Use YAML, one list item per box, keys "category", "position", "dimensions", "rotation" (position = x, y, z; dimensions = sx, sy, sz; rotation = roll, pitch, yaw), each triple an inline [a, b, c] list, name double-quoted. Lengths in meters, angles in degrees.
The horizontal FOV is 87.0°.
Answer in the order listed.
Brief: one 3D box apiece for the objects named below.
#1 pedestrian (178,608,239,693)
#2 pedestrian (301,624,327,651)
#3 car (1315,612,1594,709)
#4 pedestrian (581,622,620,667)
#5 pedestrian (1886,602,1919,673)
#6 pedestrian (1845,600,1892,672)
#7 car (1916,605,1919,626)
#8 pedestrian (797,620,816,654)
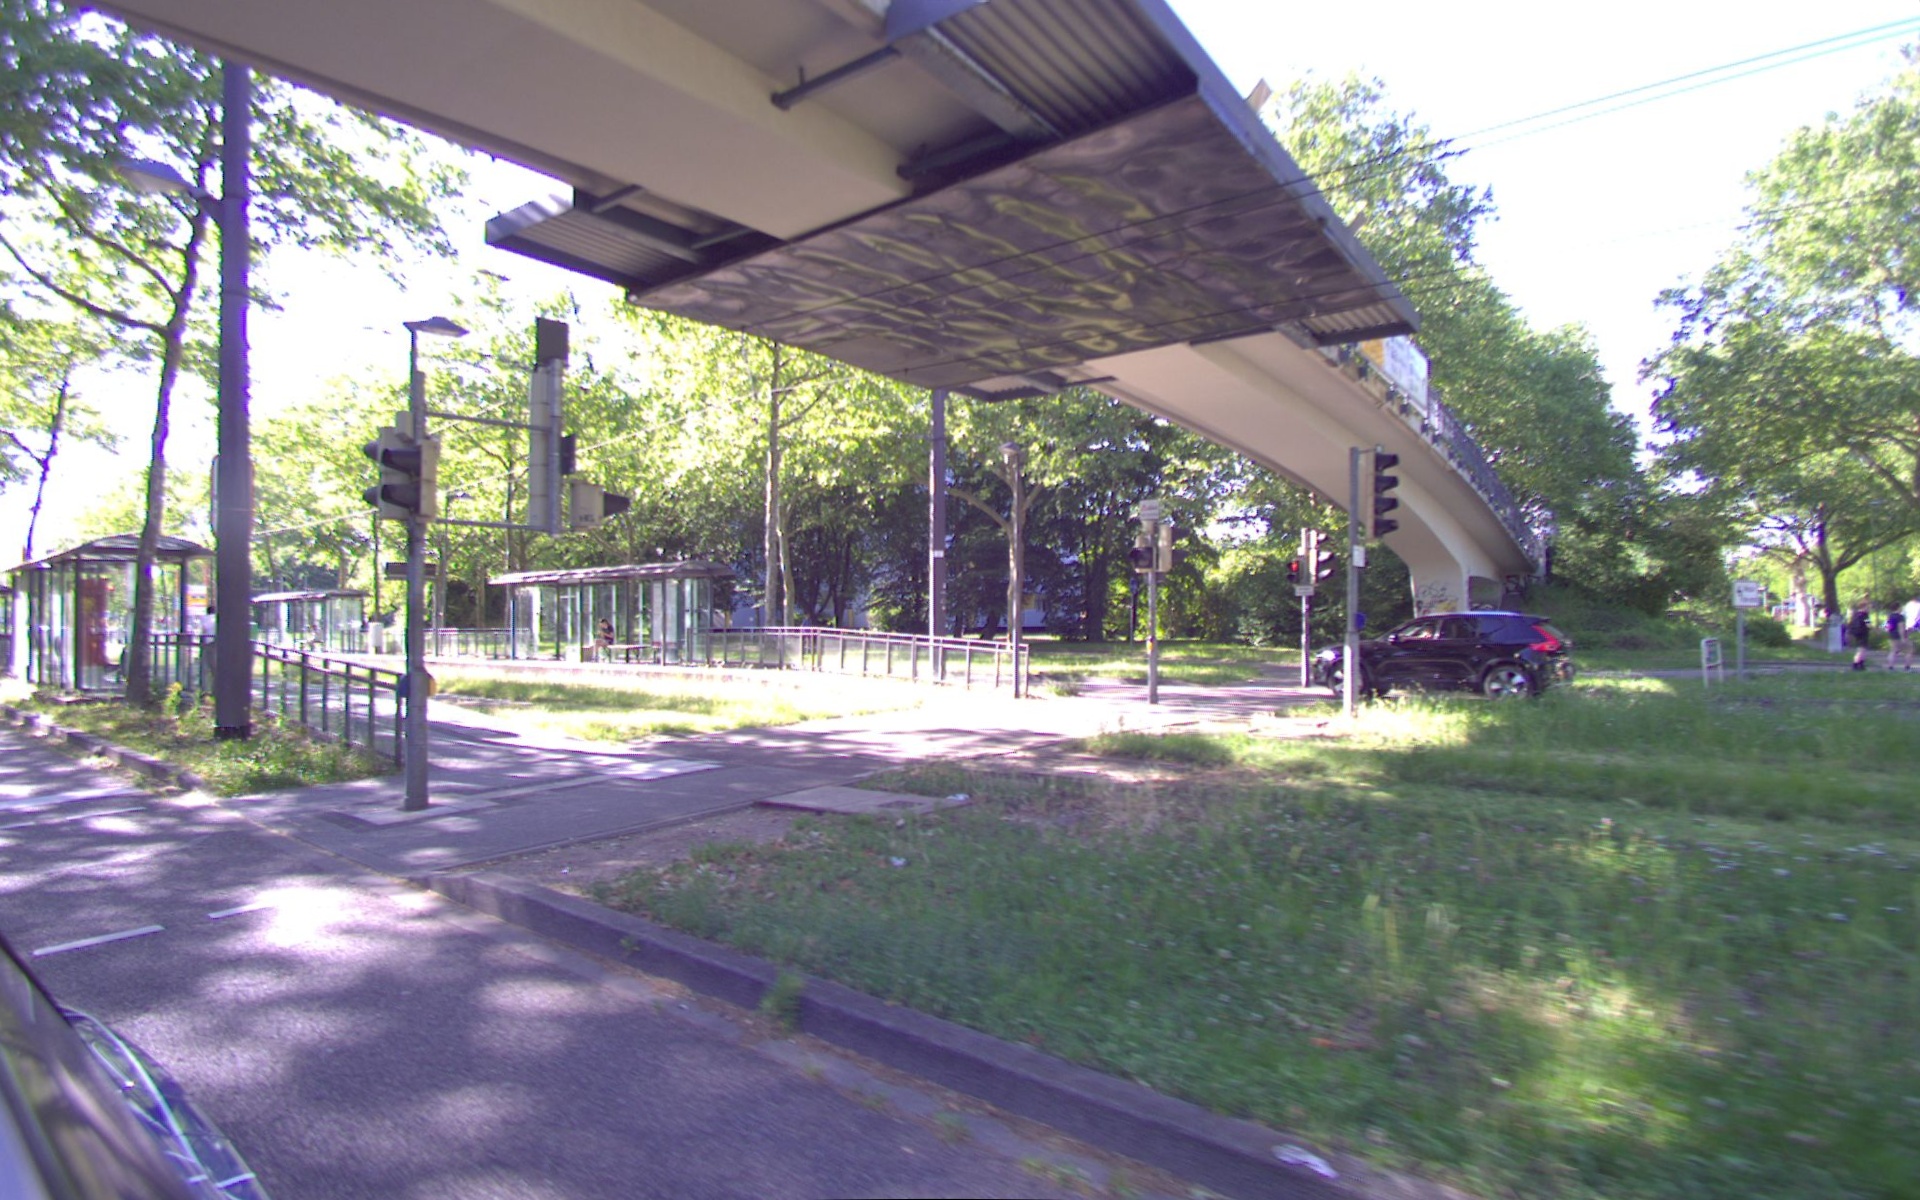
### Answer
- category: "pedestrian"
  position: [-13.137, 0.872, 17.691]
  dimensions: [0.681, 1.428, 0.717]
  rotation: [-2, -1, 41]
- category: "pedestrian"
  position: [-29.059, 1.676, 45.534]
  dimensions: [0.762, 1.192, 0.758]
  rotation: [-2, -5, 41]
- category: "car"
  position: [8.952, 1.042, 18.519]
  dimensions: [4.283, 1.578, 1.776]
  rotation: [-2, -2, 39]
- category: "pedestrian"
  position: [-10.136, 1.253, 28.533]
  dimensions: [0.721, 1.247, 0.770]
  rotation: [-2, -2, 40]
- category: "pedestrian"
  position: [23.273, 0.917, 24.795]
  dimensions: [0.639, 1.718, 0.652]
  rotation: [0, -2, -28]
- category: "pedestrian"
  position: [22.961, 0.902, 25.571]
  dimensions: [0.639, 1.797, 0.652]
  rotation: [0, -2, -28]
- category: "car"
  position: [69.153, 1.063, 71.397]
  dimensions: [1.861, 1.522, 3.952]
  rotation: [-2, -2, 35]
- category: "pedestrian"
  position: [-7.596, 1.824, 50.039]
  dimensions: [0.650, 1.674, 0.641]
  rotation: [-2, -2, 42]
